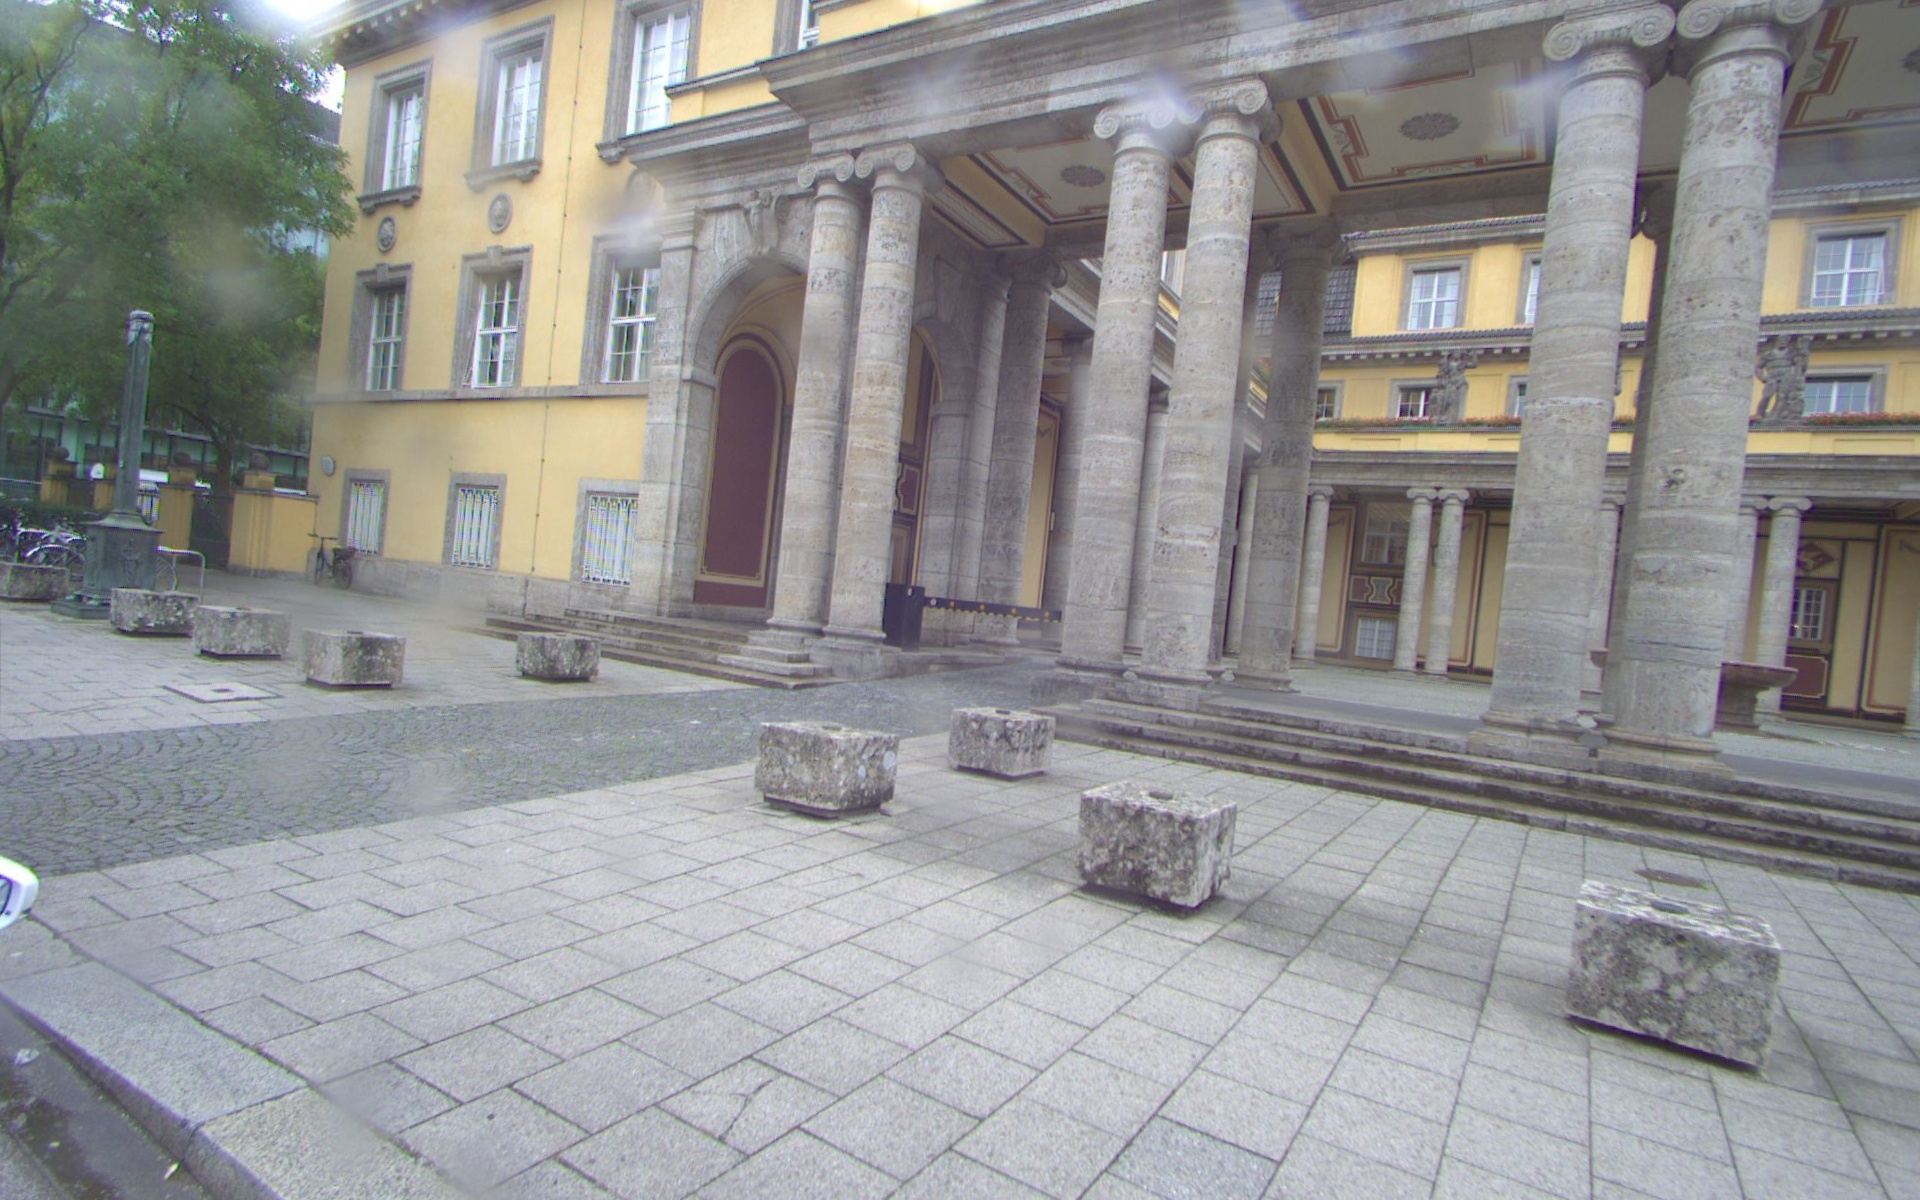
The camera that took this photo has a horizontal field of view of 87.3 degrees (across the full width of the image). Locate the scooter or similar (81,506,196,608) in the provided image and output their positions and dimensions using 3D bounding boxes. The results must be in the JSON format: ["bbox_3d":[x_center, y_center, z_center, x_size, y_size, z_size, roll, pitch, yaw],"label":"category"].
[{"bbox_3d":[-10.917,-0.562,13.396,0.996,1.238,0.536,5,2,-14],"label":"scooter or similar"}]

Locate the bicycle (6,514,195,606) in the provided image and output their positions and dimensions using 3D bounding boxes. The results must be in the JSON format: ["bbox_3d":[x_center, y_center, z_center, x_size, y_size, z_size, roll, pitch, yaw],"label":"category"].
[{"bbox_3d":[-11.984,-0.531,14.104,0.463,1.128,1.933,7,2,29],"label":"bicycle"}]

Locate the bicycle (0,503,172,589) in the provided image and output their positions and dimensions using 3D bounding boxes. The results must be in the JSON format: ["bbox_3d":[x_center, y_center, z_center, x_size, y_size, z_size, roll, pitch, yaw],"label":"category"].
[{"bbox_3d":[-13.386,-0.800,15.440,0.464,1.128,1.931,7,2,34],"label":"bicycle"}]

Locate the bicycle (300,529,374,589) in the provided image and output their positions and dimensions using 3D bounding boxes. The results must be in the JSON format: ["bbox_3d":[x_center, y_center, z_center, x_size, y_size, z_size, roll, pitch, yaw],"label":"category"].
[{"bbox_3d":[-14.005,-0.930,22.592,1.870,1.169,0.542,7,2,31],"label":"bicycle"}]

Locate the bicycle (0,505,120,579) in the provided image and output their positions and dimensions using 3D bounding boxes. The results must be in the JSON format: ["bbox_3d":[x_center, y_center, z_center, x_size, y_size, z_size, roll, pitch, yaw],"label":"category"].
[{"bbox_3d":[-15.799,-0.999,17.341,0.463,1.128,1.931,7,2,33],"label":"bicycle"}]

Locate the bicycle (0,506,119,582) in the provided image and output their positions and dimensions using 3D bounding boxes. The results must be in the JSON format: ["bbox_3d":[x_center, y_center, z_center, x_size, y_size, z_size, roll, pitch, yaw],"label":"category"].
[{"bbox_3d":[-15.284,-0.933,16.701,0.464,1.128,1.931,7,2,34],"label":"bicycle"}]
